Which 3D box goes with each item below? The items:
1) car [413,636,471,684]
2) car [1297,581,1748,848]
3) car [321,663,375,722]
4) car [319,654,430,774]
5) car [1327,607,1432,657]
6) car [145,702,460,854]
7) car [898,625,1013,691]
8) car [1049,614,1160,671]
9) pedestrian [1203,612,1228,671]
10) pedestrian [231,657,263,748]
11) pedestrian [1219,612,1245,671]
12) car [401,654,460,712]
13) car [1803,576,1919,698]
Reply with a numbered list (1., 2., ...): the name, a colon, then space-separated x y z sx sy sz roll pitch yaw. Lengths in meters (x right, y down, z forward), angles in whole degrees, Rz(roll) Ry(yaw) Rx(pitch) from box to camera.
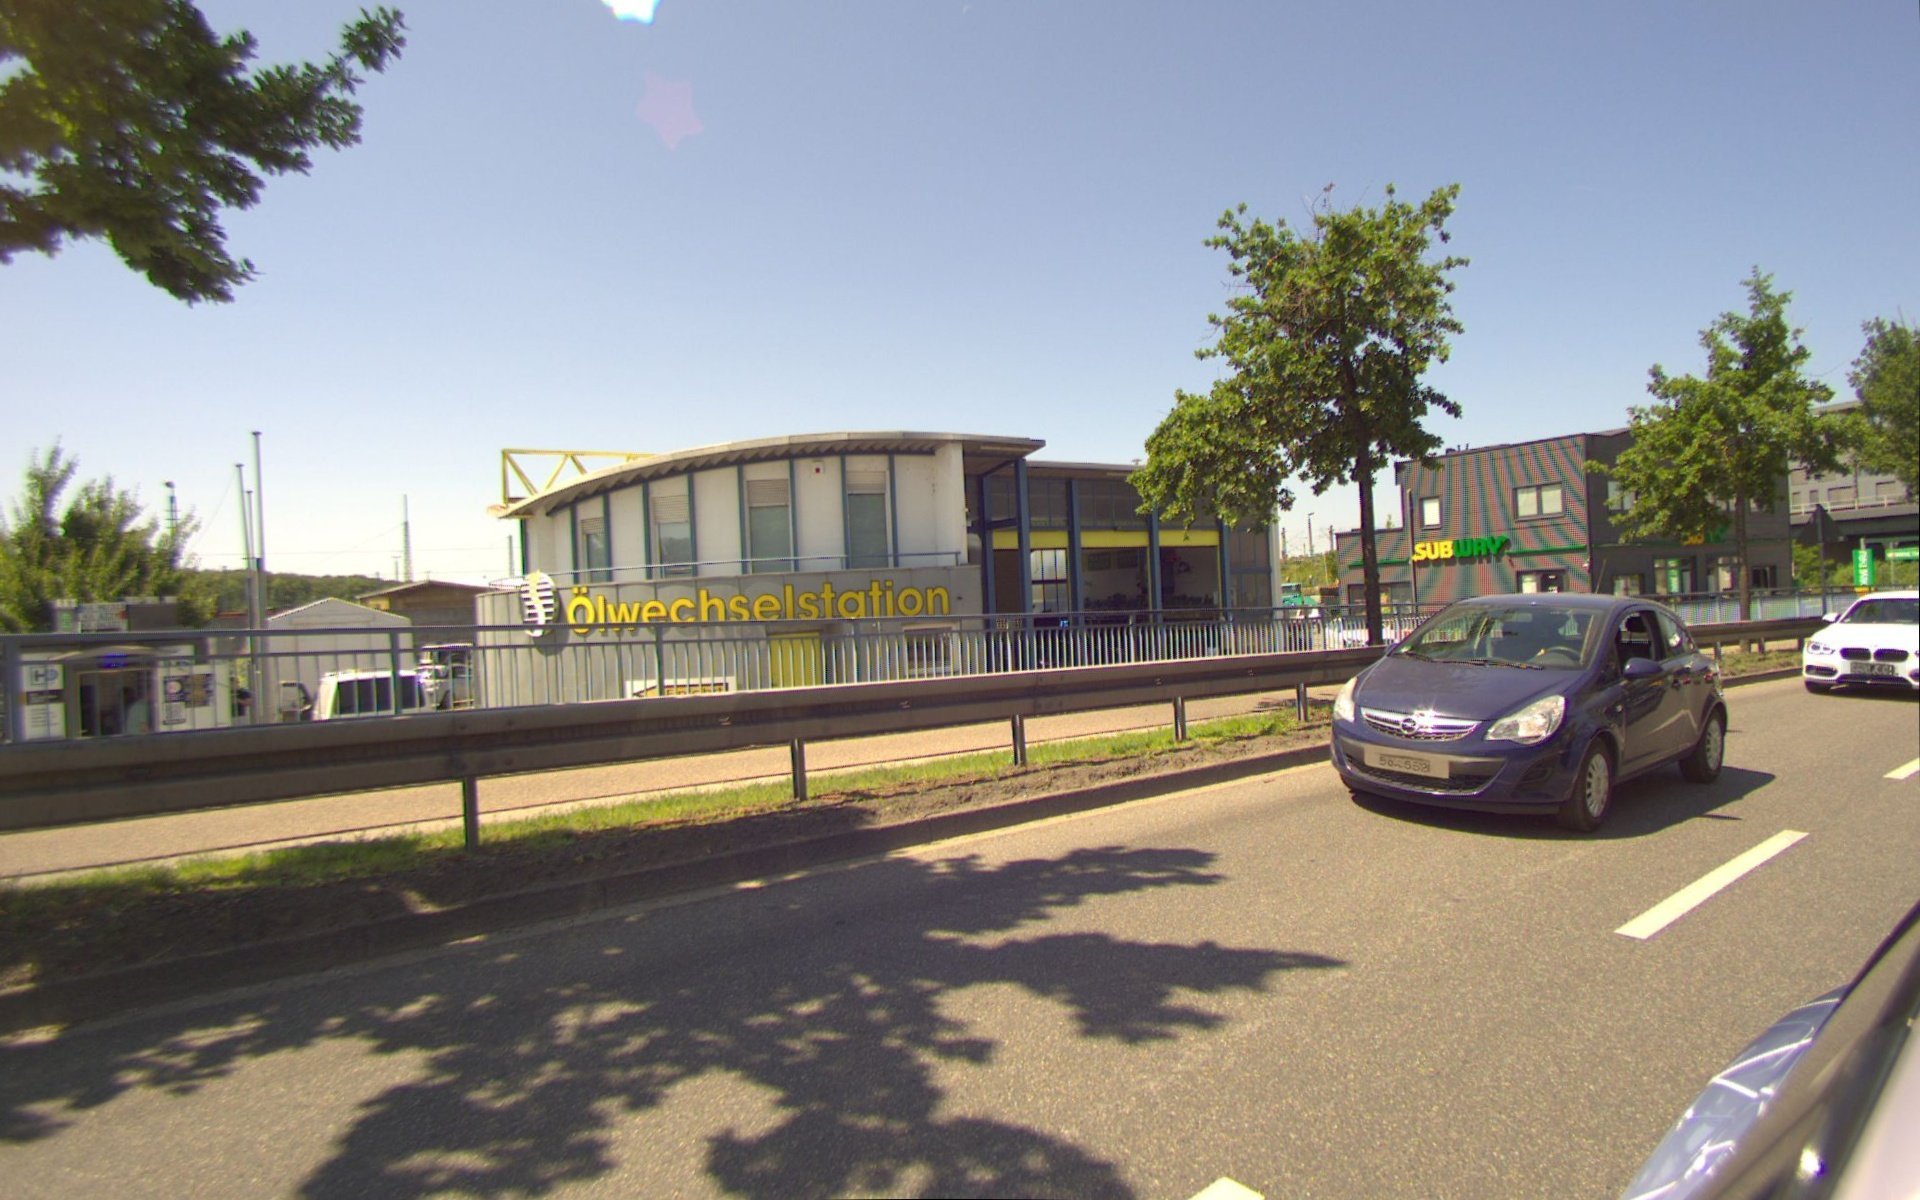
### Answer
1. car: -20.858 2.363 40.702 1.757 1.571 4.003 -2 1 -31
2. car: 4.314 0.618 7.531 3.822 1.462 1.649 -1 1 -39
3. car: -17.467 2.592 28.858 1.200 1.367 2.715 -2 1 -33
4. car: -11.199 2.023 19.211 1.565 1.680 4.611 -2 1 -33
5. car: 14.110 1.011 34.353 1.966 1.374 5.073 -2 1 7
6. car: -8.520 2.226 13.425 1.446 1.325 3.297 -1 1 20
7. car: -0.187 1.689 30.543 1.620 1.705 3.678 -2 1 -36
8. car: 4.853 1.389 34.352 1.620 1.705 3.679 -2 1 -35
9. pedestrian: 7.652 1.224 30.321 0.479 1.724 0.523 -2 1 -31
10. pedestrian: -14.273 2.033 20.256 0.433 1.739 0.567 -2 1 -41
11. pedestrian: 8.287 1.252 30.813 0.578 1.724 0.427 -2 1 -32
12. car: -18.283 2.825 35.013 1.655 1.571 4.006 -2 1 -27
13. car: 13.778 0.447 14.379 3.976 1.461 1.764 -2 3 -35
